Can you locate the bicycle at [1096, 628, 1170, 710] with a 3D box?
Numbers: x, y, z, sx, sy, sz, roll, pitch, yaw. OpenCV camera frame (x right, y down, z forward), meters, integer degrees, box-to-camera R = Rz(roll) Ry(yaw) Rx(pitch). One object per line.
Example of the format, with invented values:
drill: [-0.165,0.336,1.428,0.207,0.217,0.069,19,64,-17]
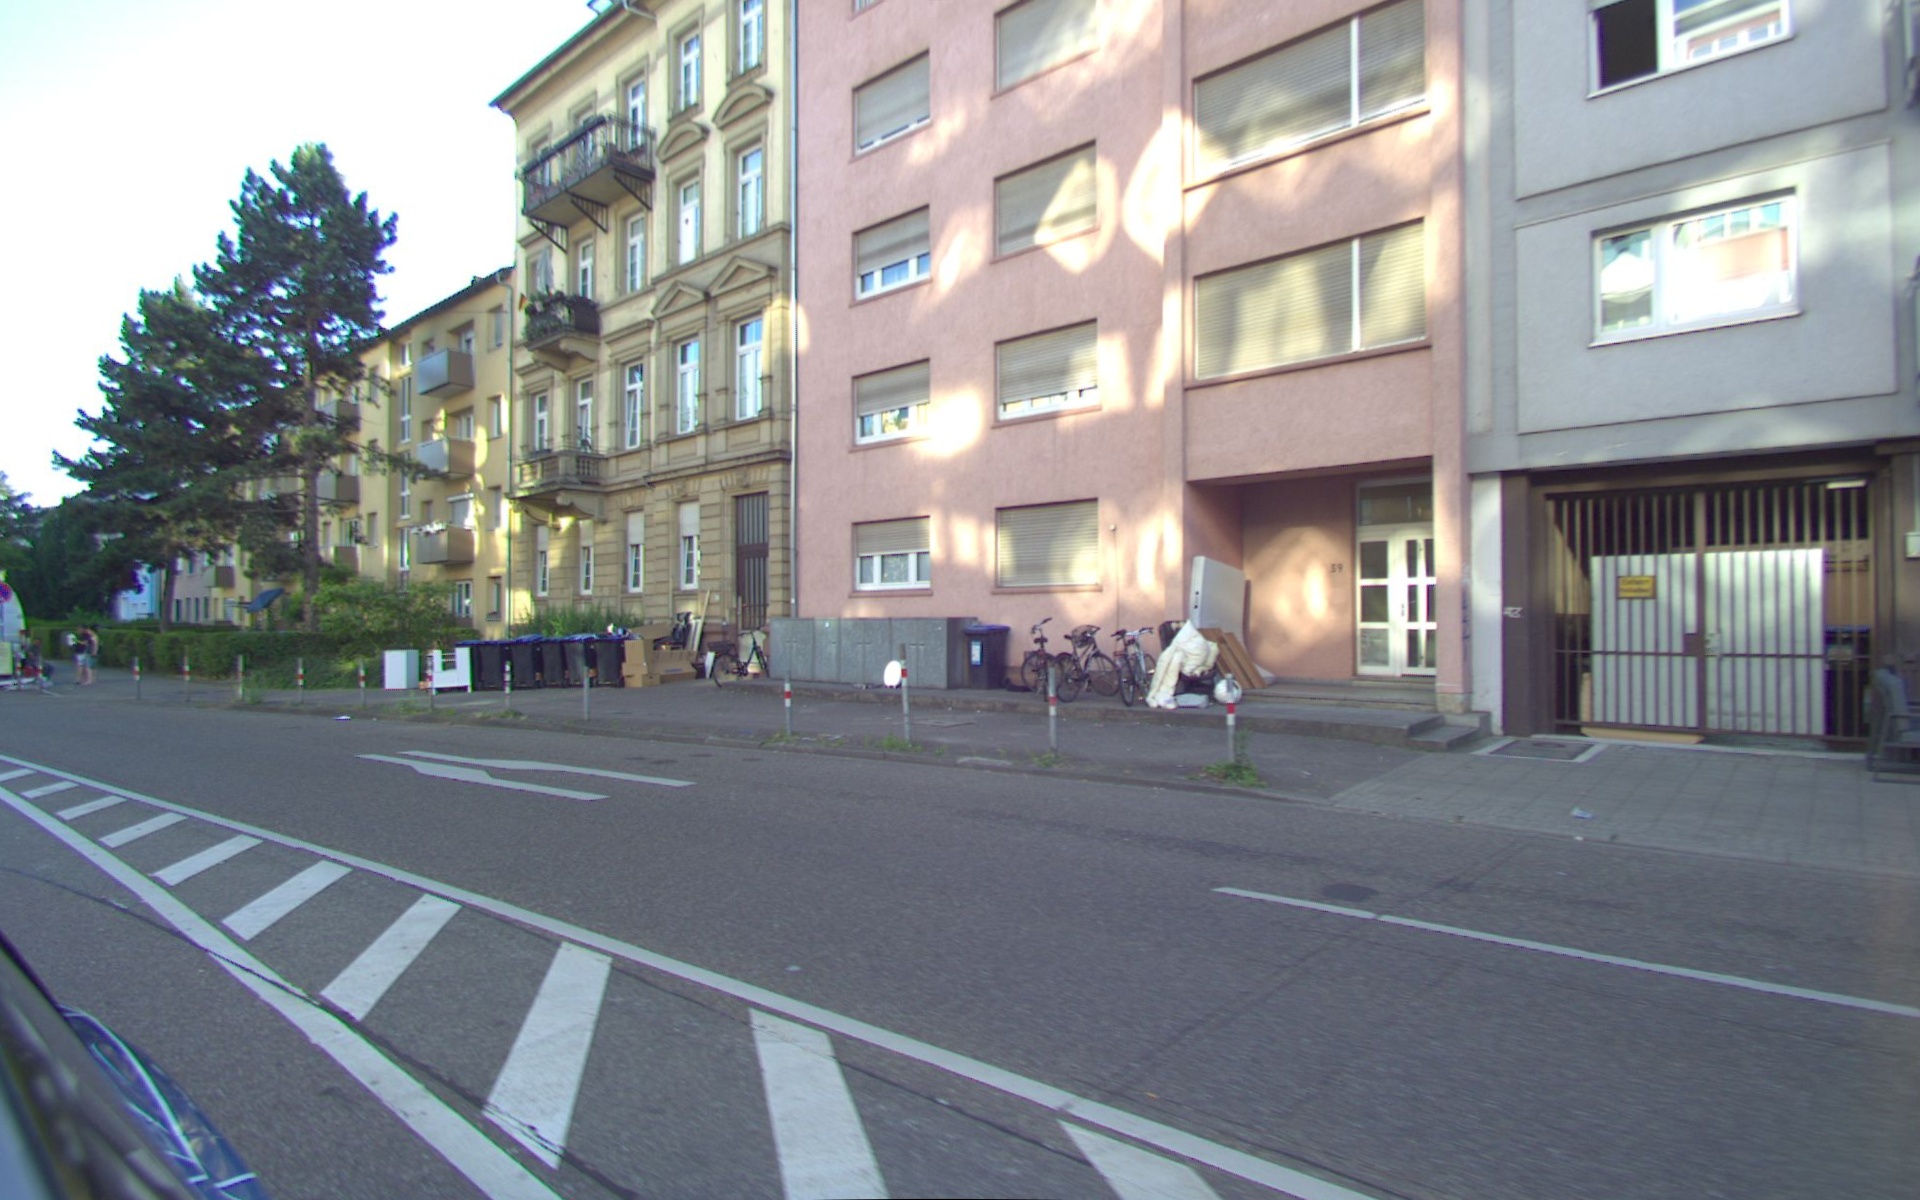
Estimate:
bicycle: [2.472,0.942,14.328,0.547,1.048,1.660,-1,0,27]

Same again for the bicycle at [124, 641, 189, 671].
bicycle: [-28.345,1.962,35.728,0.590,0.989,1.739,-2,-1,43]

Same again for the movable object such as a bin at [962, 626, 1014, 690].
movable object such as a bin: [0.470,0.964,17.016,0.589,1.039,0.668,-2,-2,42]

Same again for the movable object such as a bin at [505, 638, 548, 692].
movable object such as a bin: [-9.244,1.378,21.579,0.577,1.119,0.639,-1,0,12]

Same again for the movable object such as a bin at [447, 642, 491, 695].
movable object such as a bin: [-10.595,1.466,21.847,0.577,1.091,0.639,-1,0,12]

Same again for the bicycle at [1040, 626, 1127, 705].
bicycle: [1.833,0.929,14.857,0.548,1.048,1.655,-1,0,35]

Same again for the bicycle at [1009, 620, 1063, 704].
bicycle: [1.172,0.909,15.327,0.492,1.169,1.666,-1,0,16]

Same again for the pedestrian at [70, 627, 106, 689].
pedestrian: [-23.955,1.577,27.801,0.695,1.664,0.599,-2,-2,36]

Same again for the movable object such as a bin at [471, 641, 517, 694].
movable object such as a bin: [-9.961,1.433,21.655,0.621,1.076,0.639,-1,0,12]

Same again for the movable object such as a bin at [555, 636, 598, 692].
movable object such as a bin: [-8.009,1.333,21.169,0.577,1.119,0.639,-1,0,12]

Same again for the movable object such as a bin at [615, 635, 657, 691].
movable object such as a bin: [-6.752,1.298,21.096,0.577,1.119,0.639,-1,0,12]

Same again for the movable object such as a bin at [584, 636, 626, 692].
movable object such as a bin: [-7.409,1.322,21.128,0.577,1.119,0.639,-1,0,12]

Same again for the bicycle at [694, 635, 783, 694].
bicycle: [-4.462,1.273,20.433,0.662,0.974,1.632,-2,3,40]

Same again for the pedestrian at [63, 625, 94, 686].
pedestrian: [-24.604,1.536,28.246,0.724,1.664,0.475,-2,-2,36]

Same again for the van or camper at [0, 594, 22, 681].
van or camper: [-32.657,1.249,33.142,6.010,2.684,2.015,-2,0,39]

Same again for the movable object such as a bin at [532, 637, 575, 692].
movable object such as a bin: [-8.616,1.355,21.440,0.577,1.119,0.639,-1,0,12]

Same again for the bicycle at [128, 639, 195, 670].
bicycle: [-27.787,1.872,35.226,0.590,0.989,1.766,-2,-1,43]

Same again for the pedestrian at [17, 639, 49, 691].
pedestrian: [-25.479,1.769,27.809,0.480,1.388,0.553,-2,-1,36]
